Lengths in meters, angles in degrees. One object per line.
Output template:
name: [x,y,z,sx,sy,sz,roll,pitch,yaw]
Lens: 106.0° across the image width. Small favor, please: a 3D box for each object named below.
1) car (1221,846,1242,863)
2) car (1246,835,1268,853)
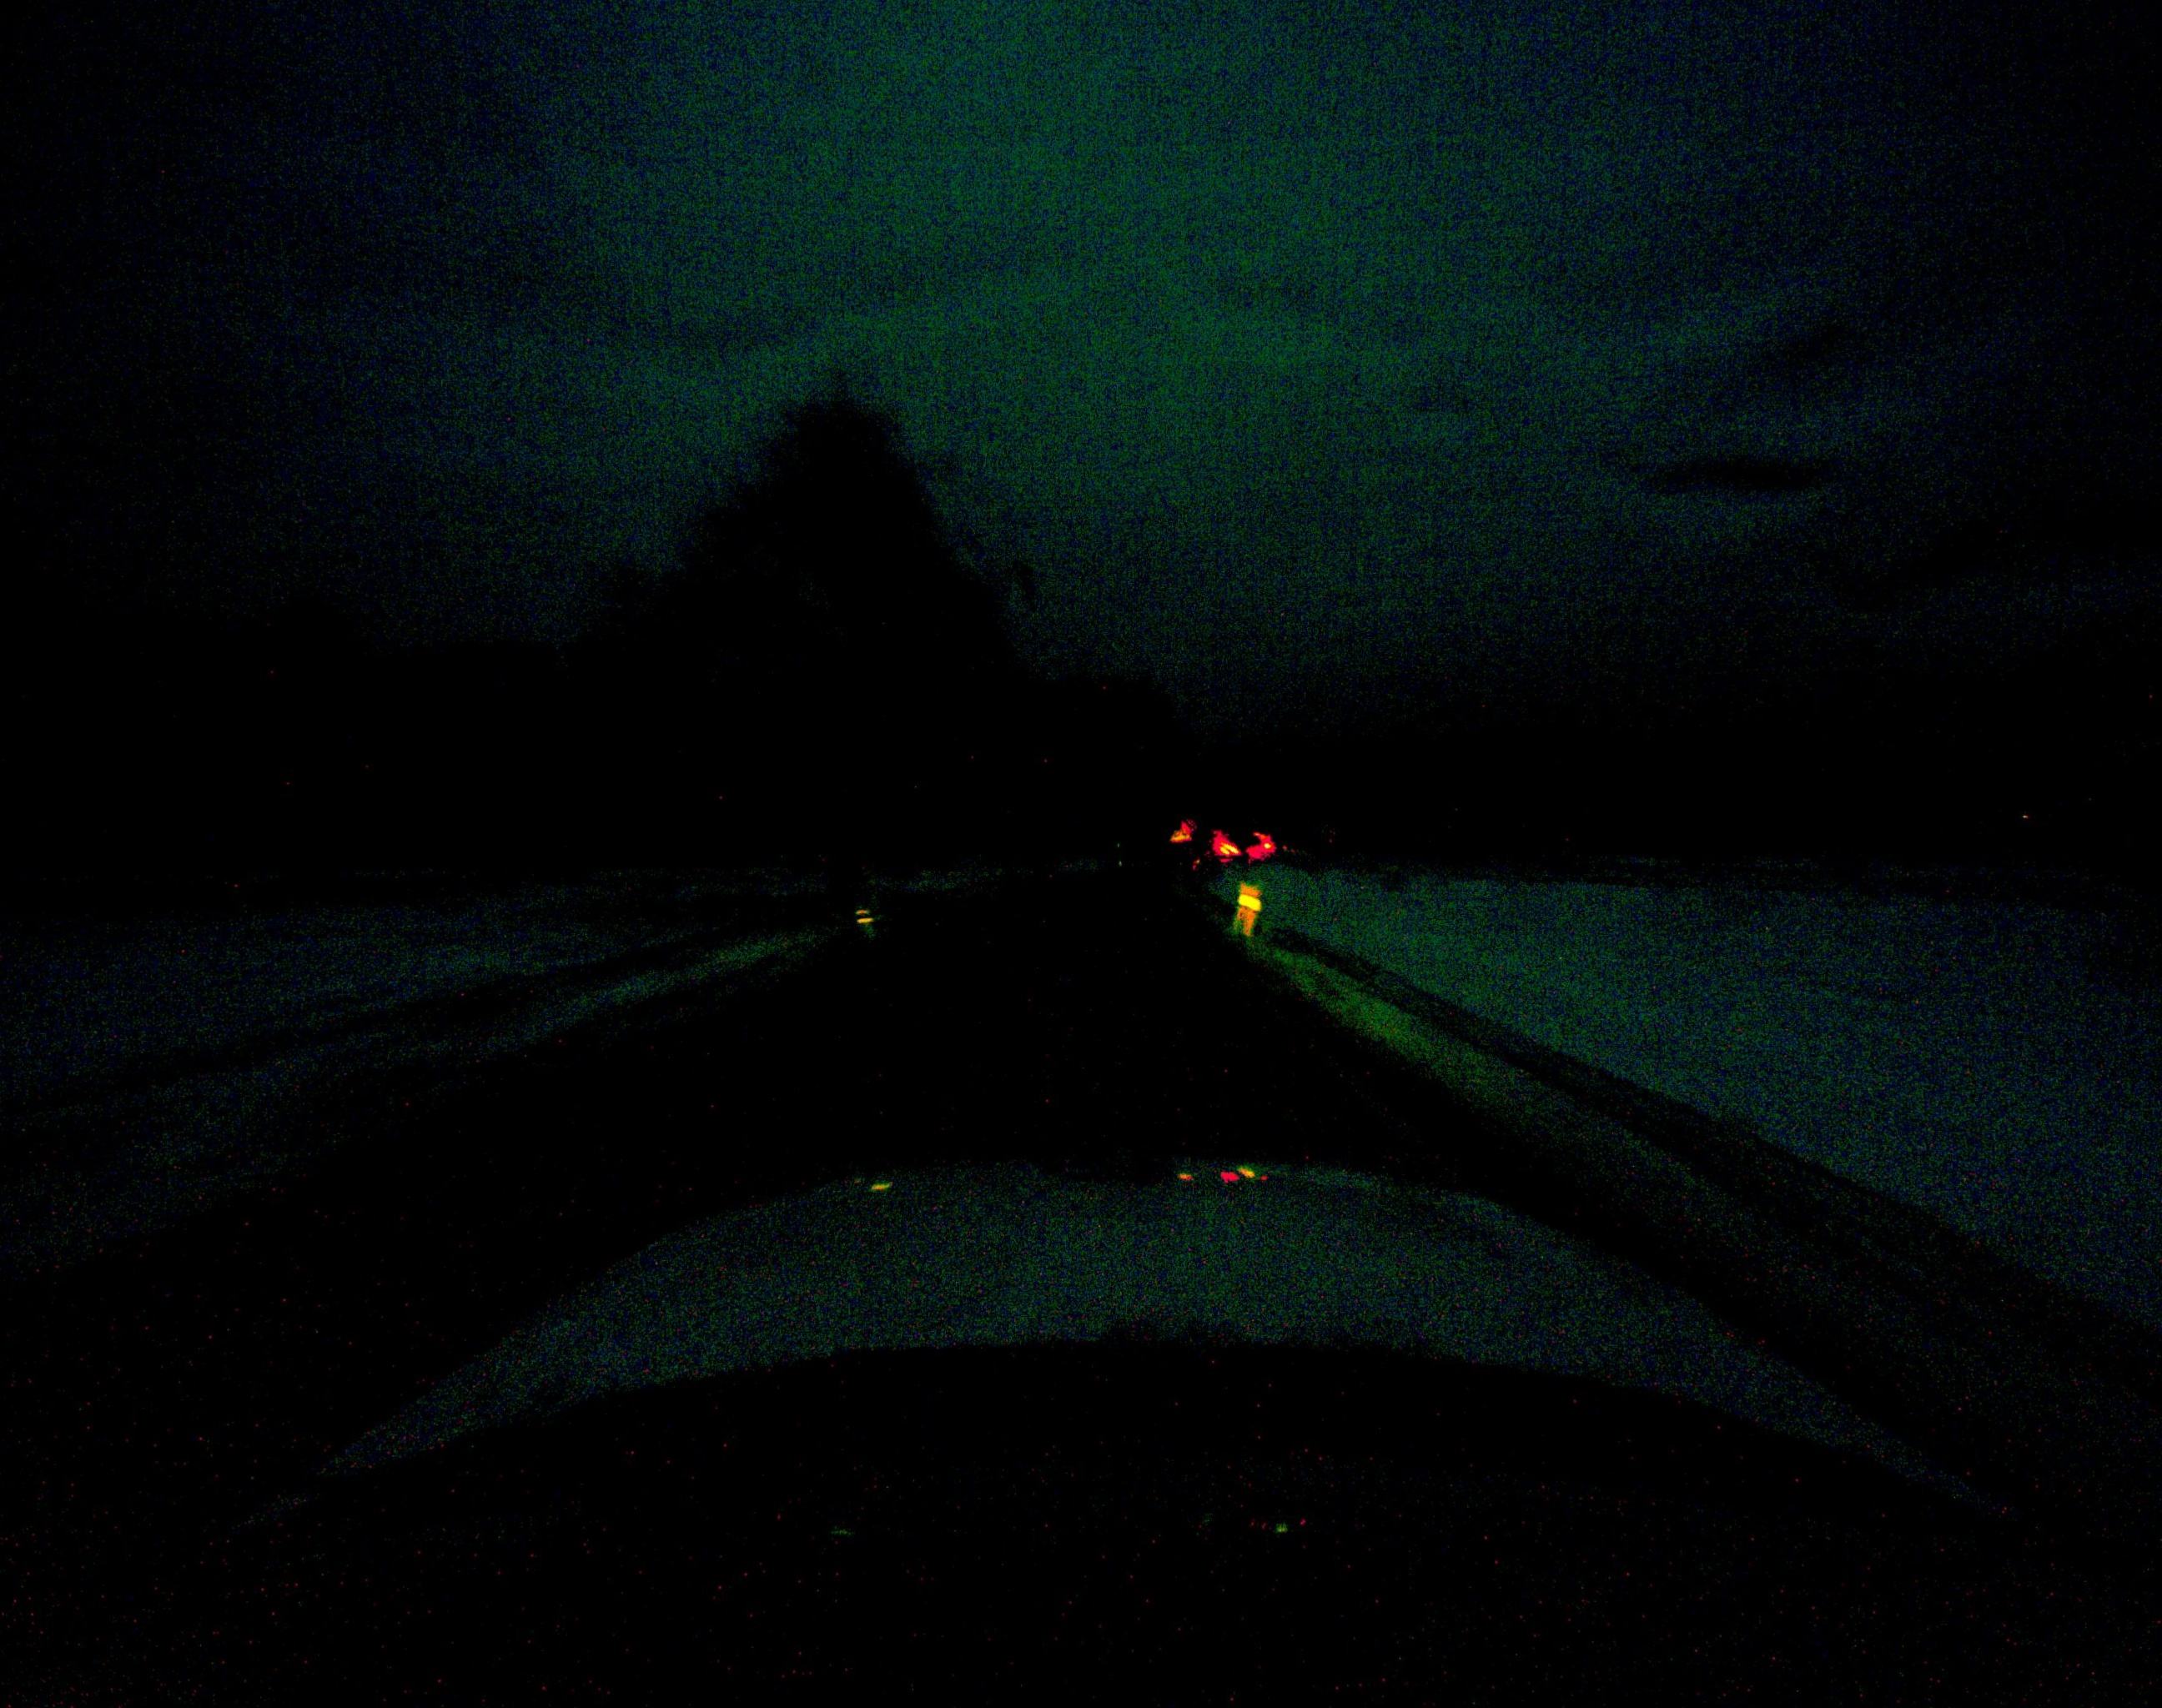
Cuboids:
car: [18.808,0.080,101.647,1.977,2.051,4.021,1,1,20]
car: [26.906,-1.576,124.401,2.232,2.645,5.035,-1,1,24]
